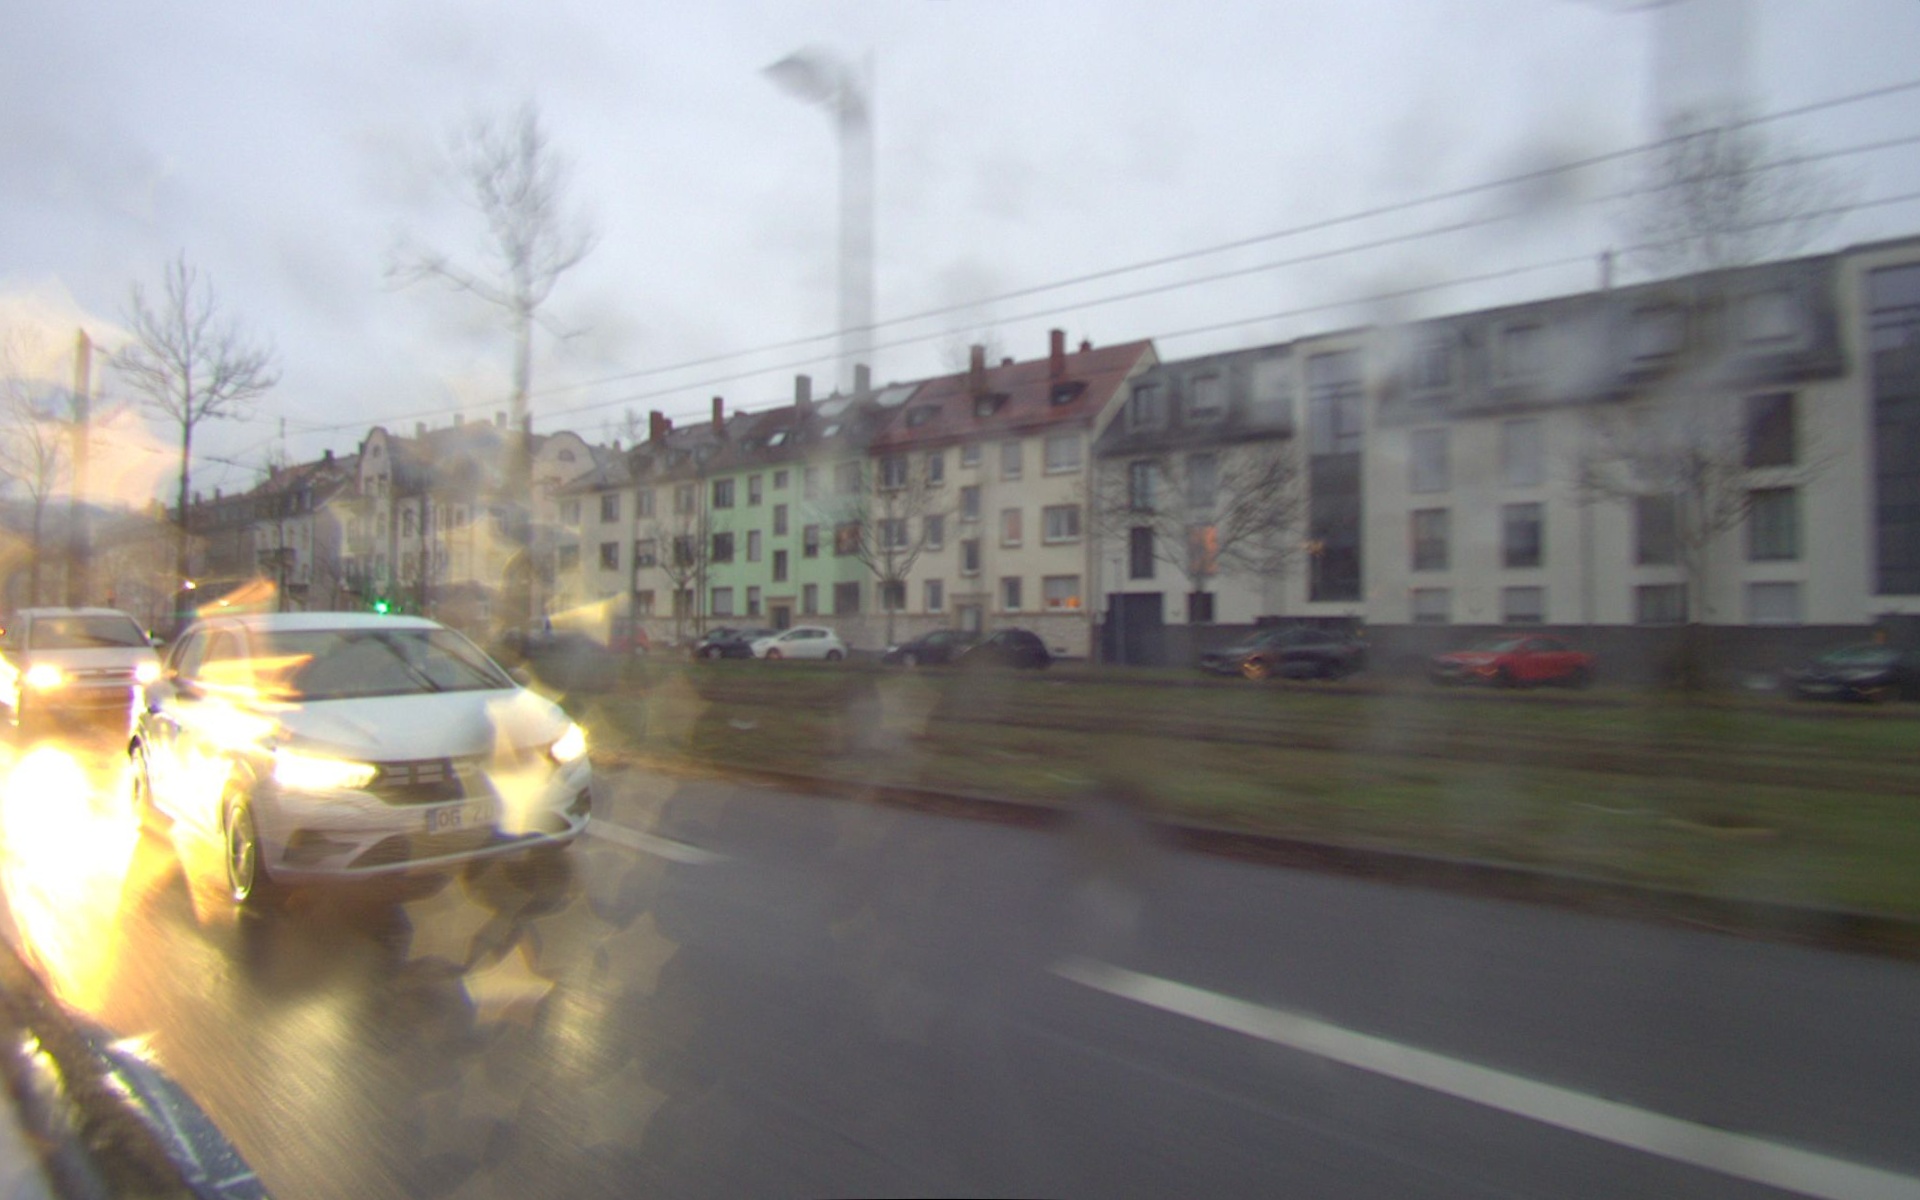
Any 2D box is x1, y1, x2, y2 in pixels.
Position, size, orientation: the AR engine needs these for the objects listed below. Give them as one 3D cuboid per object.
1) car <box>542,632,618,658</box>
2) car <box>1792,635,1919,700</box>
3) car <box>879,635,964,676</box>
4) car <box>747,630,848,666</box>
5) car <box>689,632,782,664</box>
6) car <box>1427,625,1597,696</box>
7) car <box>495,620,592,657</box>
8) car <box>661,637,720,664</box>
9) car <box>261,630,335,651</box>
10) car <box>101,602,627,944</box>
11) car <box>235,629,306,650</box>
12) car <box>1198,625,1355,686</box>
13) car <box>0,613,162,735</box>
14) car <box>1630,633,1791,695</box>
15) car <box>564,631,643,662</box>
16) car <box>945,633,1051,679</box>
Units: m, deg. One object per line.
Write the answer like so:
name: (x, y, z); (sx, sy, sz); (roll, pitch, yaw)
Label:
car: (-18.985, 2.234, 50.616); (3.510, 1.149, 1.742); (-1, 0, -21)
car: (19.450, 1.396, 21.399); (2.840, 1.213, 1.392); (-1, 0, -12)
car: (-1.455, 2.007, 37.188); (2.889, 1.346, 1.741); (-1, 0, -9)
car: (-6.651, 1.940, 41.281); (3.777, 1.255, 1.743); (-1, 0, -20)
car: (-9.431, 2.002, 42.757); (3.759, 1.181, 1.741); (-1, 0, -10)
car: (14.102, 1.501, 25.858); (3.782, 1.600, 1.748); (-1, 0, -21)
car: (-21.706, 1.992, 52.878); (4.578, 1.736, 1.839); (-1, 0, -20)
car: (-11.983, 2.227, 44.992); (2.351, 1.056, 1.441); (-1, -1, -21)
car: (-47.253, 2.880, 72.285); (4.036, 1.169, 1.717); (-2, 2, -15)
car: (-3.931, 0.789, 6.380); (3.999, 1.485, 1.671); (-1, -1, 41)
car: (-50.290, 2.862, 73.888); (3.976, 1.239, 1.353); (-2, 2, -17)
car: (9.176, 1.569, 29.349); (4.091, 1.552, 1.675); (-1, 0, -18)
car: (-13.067, 0.979, 14.835); (3.908, 1.531, 1.616); (-1, -1, 44)
car: (17.806, 1.498, 24.049); (3.046, 1.312, 1.392); (-1, 0, -12)
car: (-17.187, 2.207, 48.797); (3.518, 1.319, 1.692); (-1, 0, -21)
car: (1.297, 1.920, 35.149); (3.328, 1.432, 1.675); (-1, 0, -15)
